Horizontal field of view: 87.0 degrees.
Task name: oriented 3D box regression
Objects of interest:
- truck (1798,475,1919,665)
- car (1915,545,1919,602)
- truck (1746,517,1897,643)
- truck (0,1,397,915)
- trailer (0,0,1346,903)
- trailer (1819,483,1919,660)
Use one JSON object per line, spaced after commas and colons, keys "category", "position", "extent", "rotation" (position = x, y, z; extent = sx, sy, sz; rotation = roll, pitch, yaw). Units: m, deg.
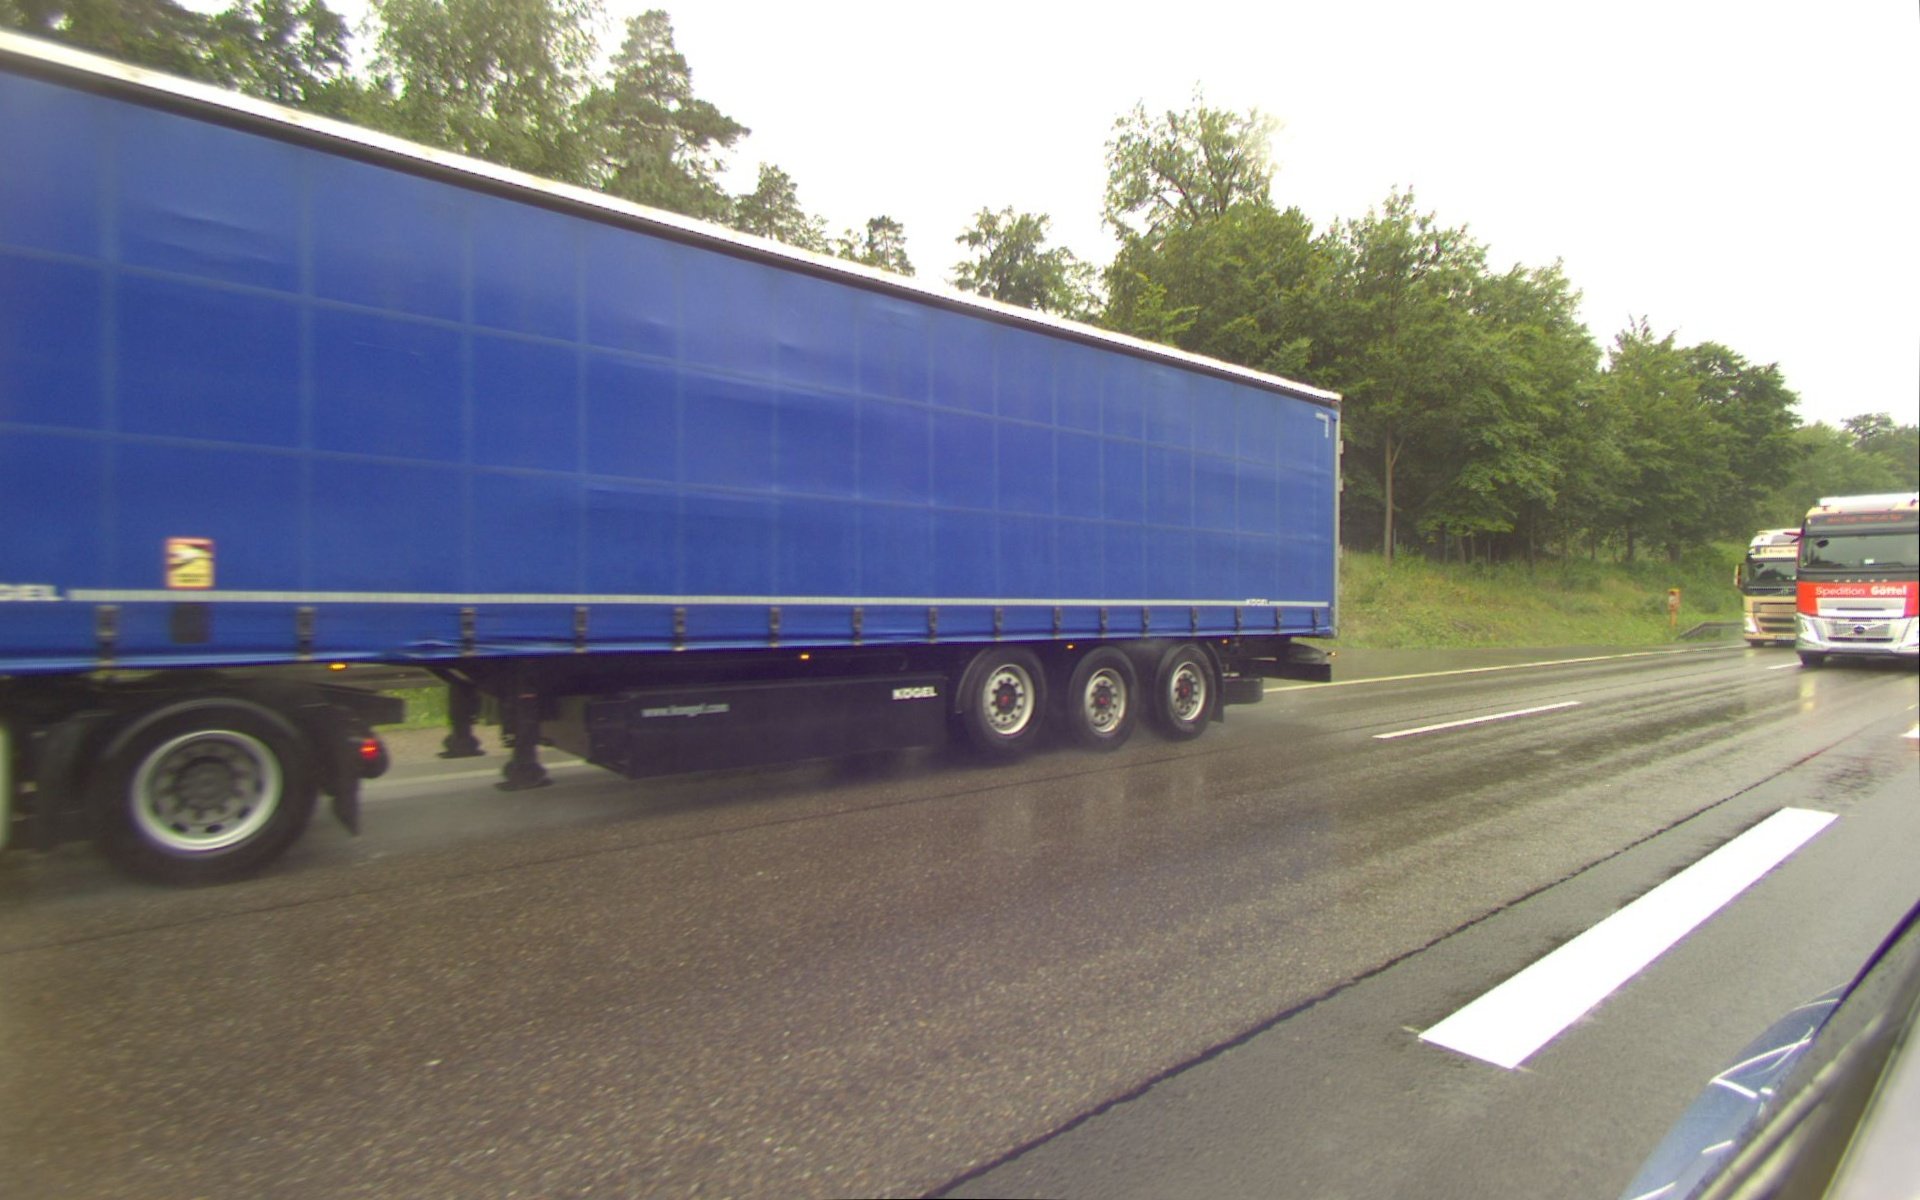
{"category": "truck", "position": [21.820, -0.648, 23.589], "extent": [5.501, 4.007, 2.606], "rotation": [0, 0, -40]}
{"category": "car", "position": [36.083, -0.942, 36.459], "extent": [3.929, 2.039, 1.997], "rotation": [0, 0, -40]}
{"category": "truck", "position": [31.046, -0.656, 36.271], "extent": [9.764, 4.007, 2.606], "rotation": [0, 0, -41]}
{"category": "truck", "position": [-6.144, -0.617, 4.577], "extent": [5.907, 4.065, 2.605], "rotation": [0, -1, -41]}
{"category": "trailer", "position": [-1.310, -0.716, 8.725], "extent": [13.472, 4.064, 2.558], "rotation": [0, 0, -41]}
{"category": "trailer", "position": [27.102, -0.681, 27.889], "extent": [14.318, 4.007, 2.607], "rotation": [0, 0, -39]}
